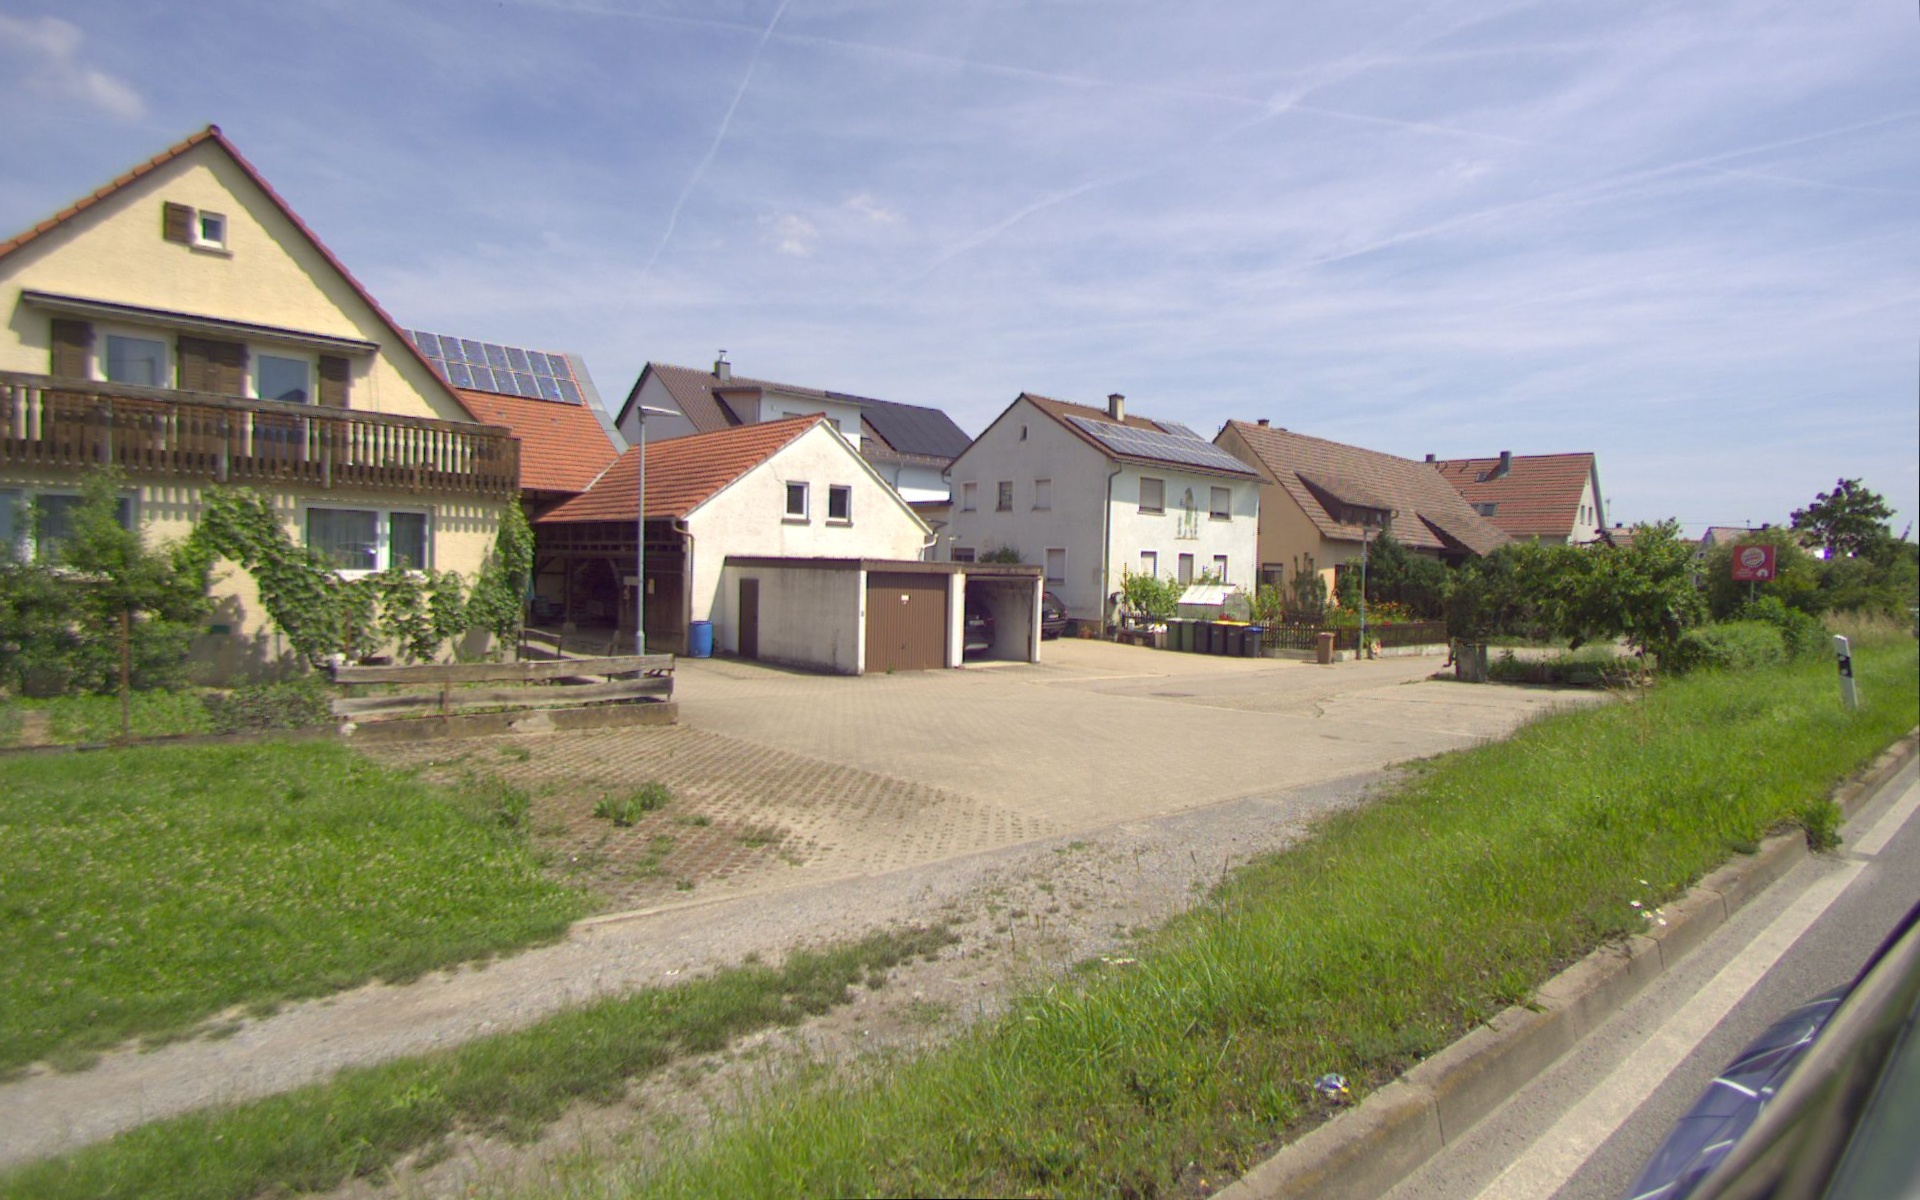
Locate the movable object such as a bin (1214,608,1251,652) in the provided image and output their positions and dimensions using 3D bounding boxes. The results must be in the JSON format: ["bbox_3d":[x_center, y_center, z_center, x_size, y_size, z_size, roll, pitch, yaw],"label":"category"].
[{"bbox_3d":[8.938,0.968,33.193,0.930,1.388,0.764,1,-1,-41],"label":"movable object such as a bin"}]

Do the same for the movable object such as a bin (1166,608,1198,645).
[{"bbox_3d":[7.704,0.917,35.109,0.874,1.262,0.744,1,-1,-41],"label":"movable object such as a bin"}]

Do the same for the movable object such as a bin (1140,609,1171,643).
[{"bbox_3d":[6.904,0.916,35.680,0.815,1.171,0.740,1,-1,-41],"label":"movable object such as a bin"}]

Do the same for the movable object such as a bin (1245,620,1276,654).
[{"bbox_3d":[9.643,1.173,32.476,0.743,1.040,0.645,1,-1,-41],"label":"movable object such as a bin"}]

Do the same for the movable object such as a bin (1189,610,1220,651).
[{"bbox_3d":[8.307,1.038,34.418,0.806,1.355,0.678,1,-1,-41],"label":"movable object such as a bin"}]

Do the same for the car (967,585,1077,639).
[{"bbox_3d":[2.253,0.388,37.593,1.796,1.755,3.996,-1,3,-40],"label":"car"}]

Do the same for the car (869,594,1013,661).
[{"bbox_3d":[-0.577,0.665,27.224,1.794,1.624,3.996,1,0,-39],"label":"car"}]
